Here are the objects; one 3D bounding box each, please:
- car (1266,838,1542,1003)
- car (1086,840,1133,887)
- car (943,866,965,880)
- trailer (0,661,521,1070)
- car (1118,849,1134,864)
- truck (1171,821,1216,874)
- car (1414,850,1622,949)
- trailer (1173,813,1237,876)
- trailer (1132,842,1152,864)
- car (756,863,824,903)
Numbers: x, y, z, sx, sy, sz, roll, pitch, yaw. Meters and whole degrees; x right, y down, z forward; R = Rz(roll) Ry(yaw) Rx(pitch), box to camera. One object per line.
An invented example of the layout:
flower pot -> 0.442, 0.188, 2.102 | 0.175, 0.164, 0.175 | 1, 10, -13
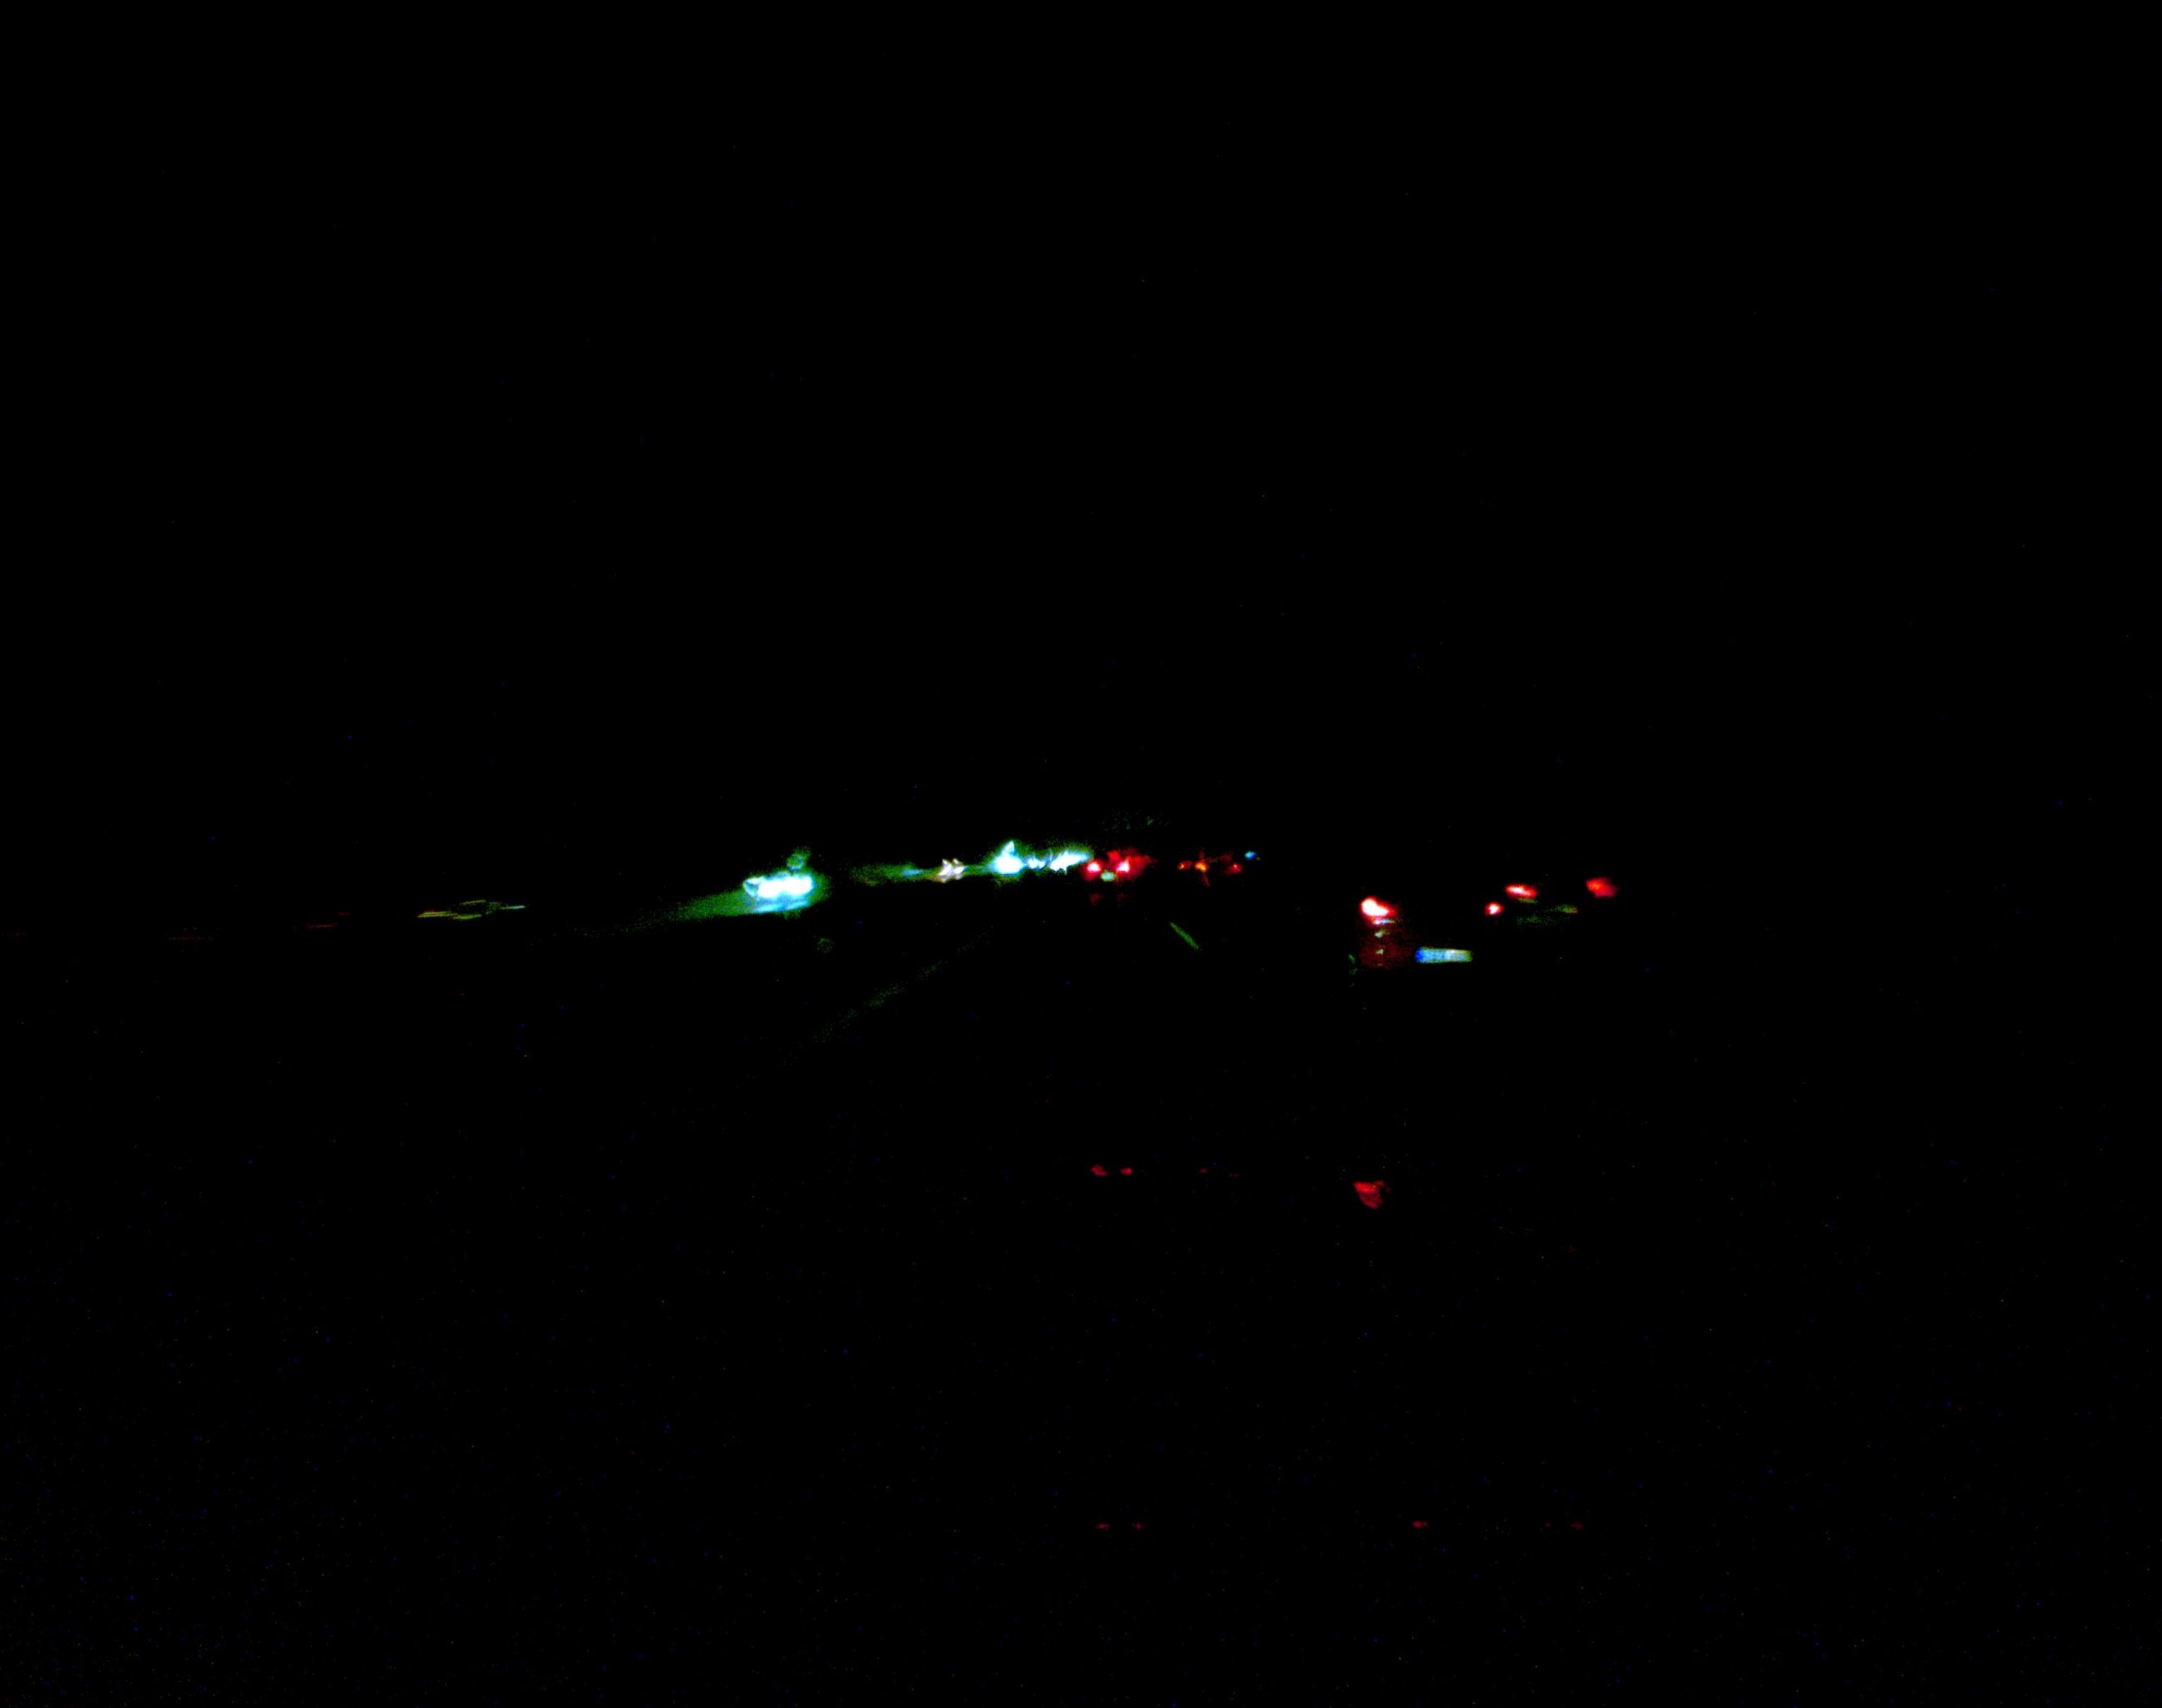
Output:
car -> 3.672, 0.693, 10.226 | 1.734, 1.575, 4.495 | -1, -1, 1
car -> 1.282, 0.421, 36.598 | 1.986, 2.014, 4.001 | 0, -1, 1
car -> -16.543, 2.455, 106.373 | 1.986, 1.714, 4.248 | -2, 0, 2
trailer -> -12.898, 0.127, 9.201 | 2.680, 4.378, 14.636 | 0, 0, 2
car -> 6.665, 0.425, 120.705 | 1.988, 2.014, 3.997 | -3, -1, -2
truck -> 9.365, -0.487, 68.430 | 2.892, 4.109, 6.032 | -3, -1, 2
car -> 7.693, 0.726, 14.818 | 1.634, 1.503, 4.013 | -2, 0, 1
trailer -> 9.174, -0.580, 62.161 | 2.892, 4.109, 14.491 | -3, -1, 2
trailer -> 12.939, -0.147, 173.669 | 3.031, 4.109, 13.826 | -3, -1, 0
car -> -15.883, 1.547, 44.714 | 1.986, 2.014, 4.393 | -2, -1, 2
